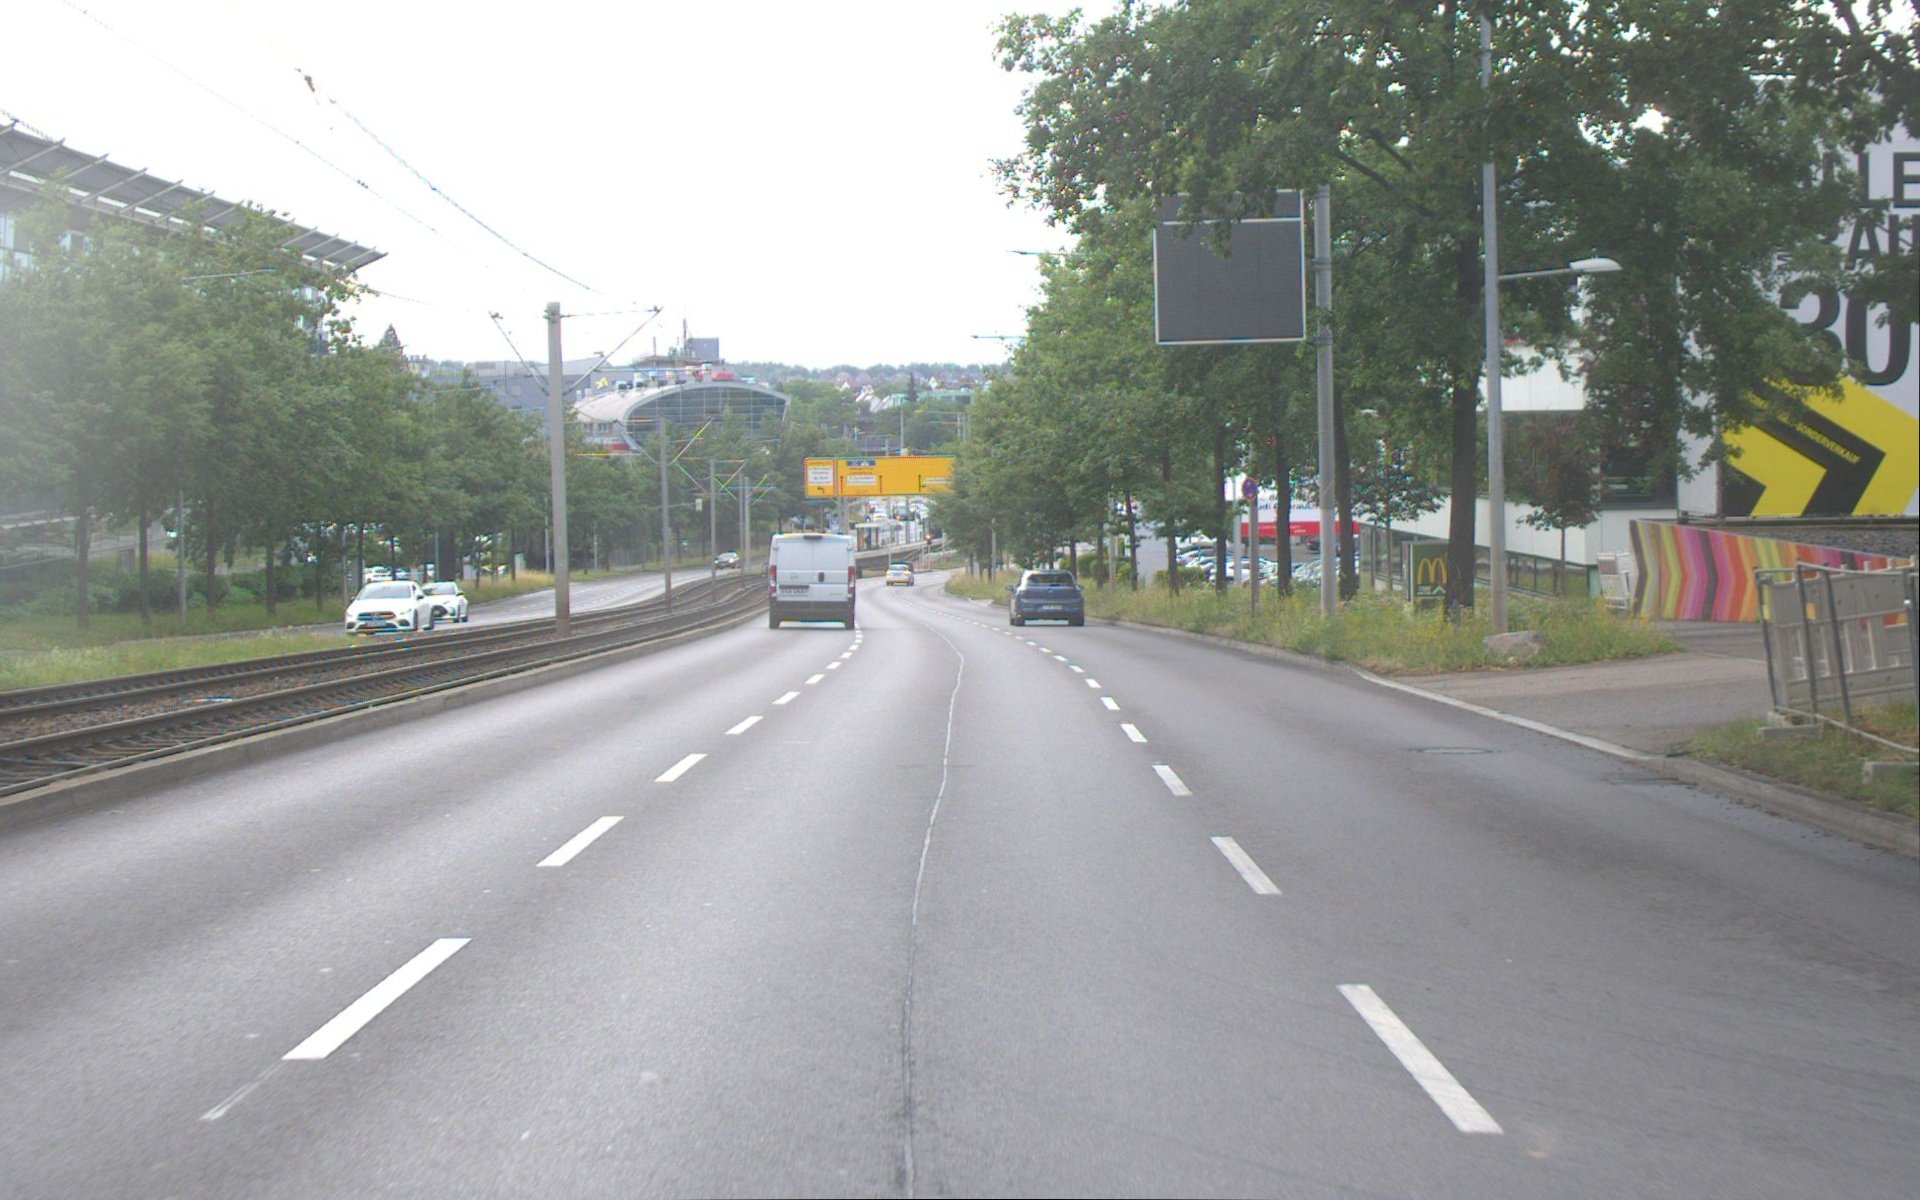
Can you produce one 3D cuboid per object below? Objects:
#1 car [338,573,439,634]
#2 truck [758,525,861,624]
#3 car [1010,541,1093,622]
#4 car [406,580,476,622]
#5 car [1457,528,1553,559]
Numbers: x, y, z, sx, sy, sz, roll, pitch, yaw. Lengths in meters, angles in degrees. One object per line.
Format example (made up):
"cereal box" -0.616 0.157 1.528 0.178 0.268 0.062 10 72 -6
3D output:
"car" -14.982 0.069 90.312 1.837 1.439 4.429 -2 1 0
"truck" -3.596 -0.616 82.421 2.360 2.254 5.306 1 0 -2
"car" 2.335 -0.481 88.390 1.993 2.007 3.934 1 0 0
"car" -18.600 0.015 123.394 1.881 1.442 4.138 -1 1 0
"car" 24.230 -2.510 152.899 3.987 1.349 2.000 1 0 3
